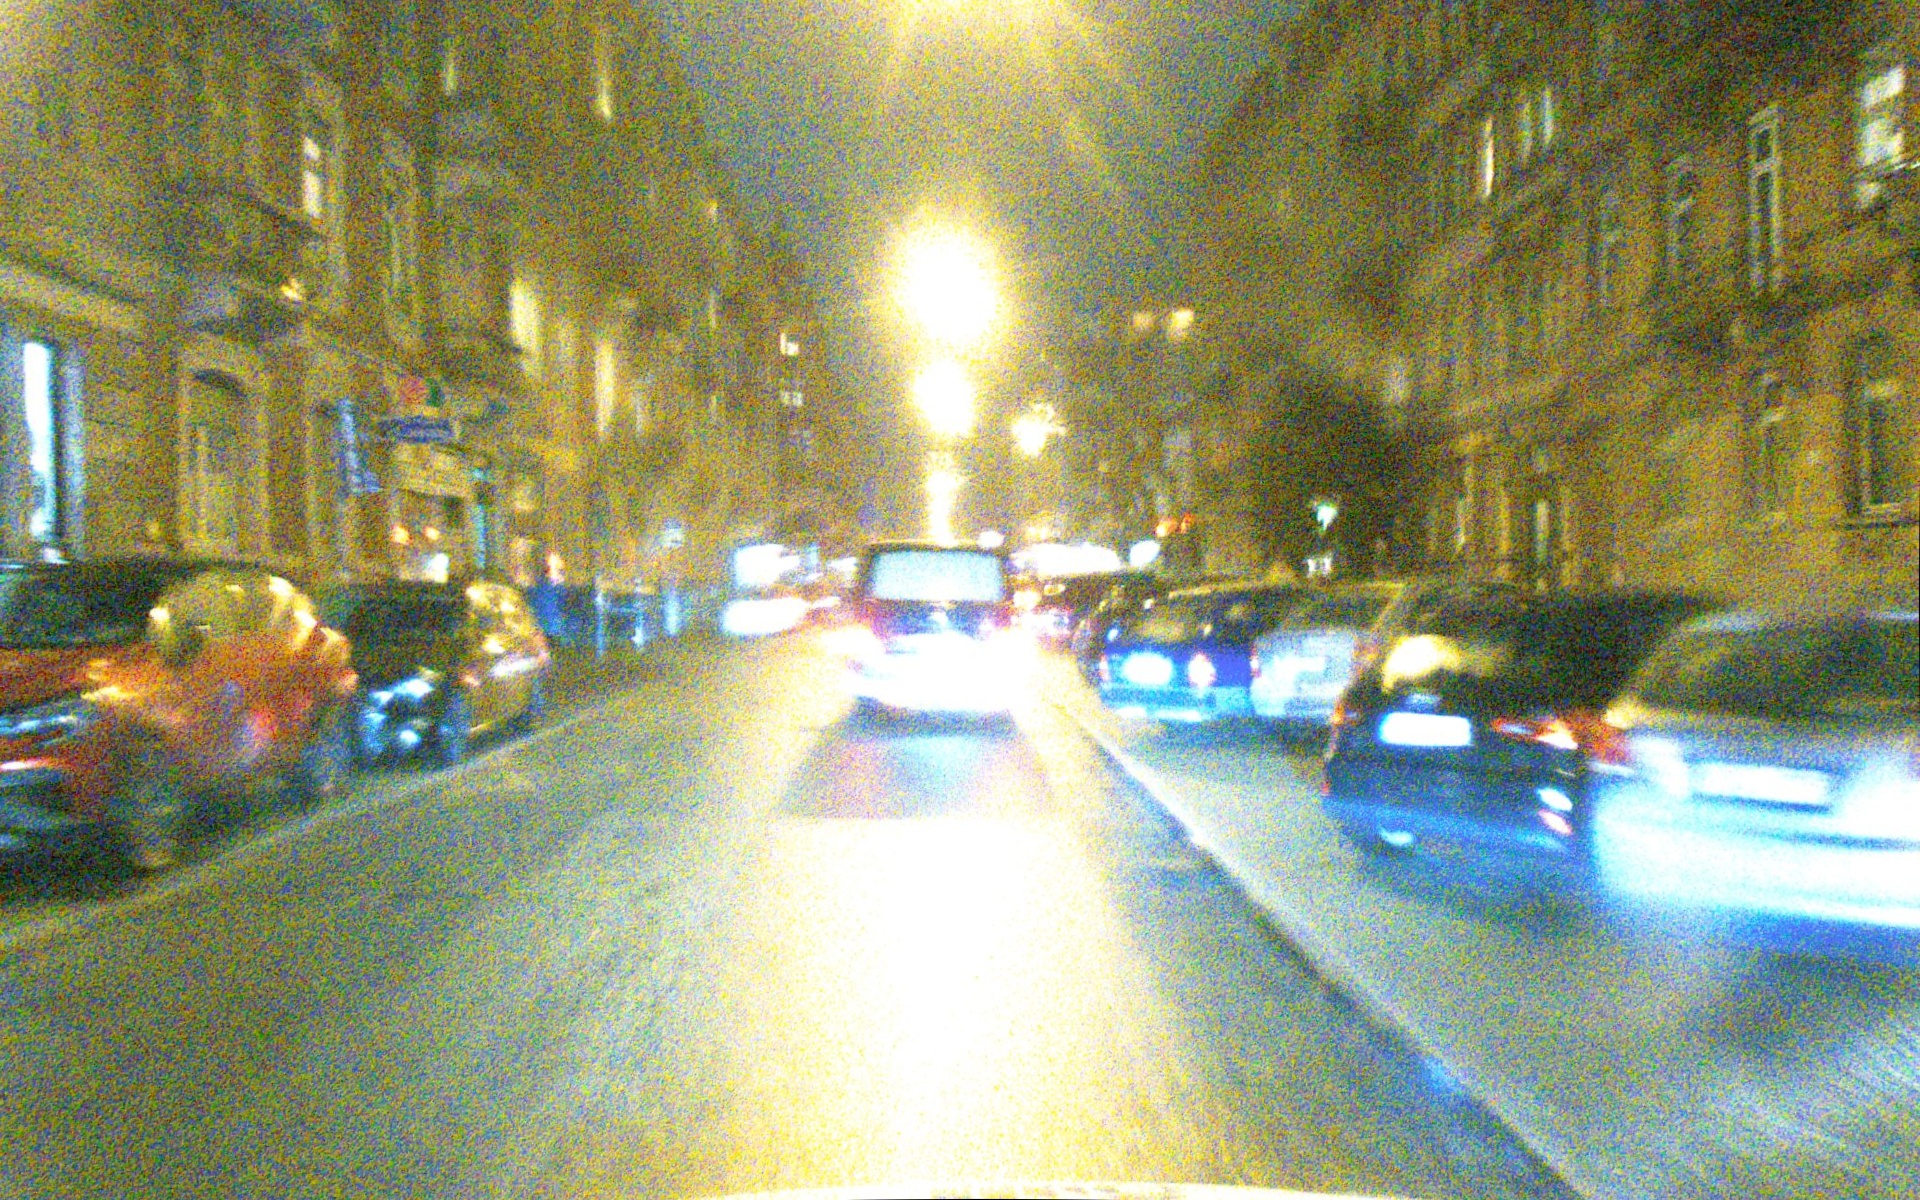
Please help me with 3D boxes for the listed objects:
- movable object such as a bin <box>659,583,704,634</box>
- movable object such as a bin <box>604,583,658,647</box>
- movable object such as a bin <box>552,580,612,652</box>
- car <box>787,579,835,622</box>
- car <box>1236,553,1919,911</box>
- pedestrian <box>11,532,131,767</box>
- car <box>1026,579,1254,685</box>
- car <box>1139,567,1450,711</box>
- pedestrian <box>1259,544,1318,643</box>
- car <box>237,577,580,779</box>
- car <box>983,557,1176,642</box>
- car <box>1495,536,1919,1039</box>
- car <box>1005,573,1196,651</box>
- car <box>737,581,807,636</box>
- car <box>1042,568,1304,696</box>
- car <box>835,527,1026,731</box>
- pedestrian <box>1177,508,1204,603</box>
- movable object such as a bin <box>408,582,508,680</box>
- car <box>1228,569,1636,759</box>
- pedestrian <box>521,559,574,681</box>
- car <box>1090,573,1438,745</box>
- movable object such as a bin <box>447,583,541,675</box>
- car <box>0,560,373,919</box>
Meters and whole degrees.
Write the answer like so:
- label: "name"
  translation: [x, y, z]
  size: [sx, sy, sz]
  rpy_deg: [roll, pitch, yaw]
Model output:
- label: "movable object such as a bin"
  translation: [-7.946, 0.244, 47.277]
  size: [1.026, 1.423, 1.158]
  rpy_deg: [1, 0, 1]
- label: "movable object such as a bin"
  translation: [-7.533, 0.327, 37.942]
  size: [0.954, 1.423, 1.133]
  rpy_deg: [1, 0, 1]
- label: "movable object such as a bin"
  translation: [-7.873, 0.318, 34.494]
  size: [0.954, 1.444, 1.133]
  rpy_deg: [1, 0, 1]
- label: "car"
  translation: [-5.697, 0.006, 63.428]
  size: [1.777, 1.584, 4.073]
  rpy_deg: [0, 1, -5]
- label: "car"
  translation: [3.615, 0.578, 9.417]
  size: [3.956, 1.579, 1.781]
  rpy_deg: [-2, 0, -36]
- label: "pedestrian"
  translation: [-7.045, 0.381, 13.121]
  size: [0.626, 1.812, 0.549]
  rpy_deg: [-1, 0, -1]
- label: "car"
  translation: [2.953, 0.481, 26.812]
  size: [3.614, 1.608, 1.572]
  rpy_deg: [0, 0, -37]
- label: "car"
  translation: [4.094, 0.418, 20.139]
  size: [3.602, 1.608, 1.577]
  rpy_deg: [-1, 1, -30]
- label: "pedestrian"
  translation: [6.470, -0.132, 32.648]
  size: [0.851, 1.888, 0.992]
  rpy_deg: [-3, 1, -4]
- label: "car"
  translation: [-4.615, 0.558, 14.515]
  size: [1.652, 1.481, 4.314]
  rpy_deg: [1, 1, -1]
- label: "car"
  translation: [3.118, -0.064, 42.887]
  size: [4.738, 2.084, 2.044]
  rpy_deg: [-1, 1, -32]
- label: "car"
  translation: [4.219, 0.542, 6.856]
  size: [3.961, 1.579, 1.972]
  rpy_deg: [-2, 0, -39]
- label: "car"
  translation: [3.167, 0.258, 37.085]
  size: [3.941, 1.518, 1.719]
  rpy_deg: [-3, 1, -27]
- label: "car"
  translation: [-5.392, 0.222, 47.801]
  size: [1.554, 1.508, 3.793]
  rpy_deg: [0, 1, 0]
- label: "car"
  translation: [2.958, 0.374, 22.613]
  size: [3.620, 1.608, 1.569]
  rpy_deg: [-1, 1, -41]
- label: "car"
  translation: [-0.331, 0.301, 18.964]
  size: [1.953, 2.086, 3.999]
  rpy_deg: [0, 0, -1]
- label: "pedestrian"
  translation: [8.692, -1.669, 62.395]
  size: [0.873, 3.589, 0.791]
  rpy_deg: [0, 0, -1]
- label: "movable object such as a bin"
  translation: [-7.650, 0.454, 25.256]
  size: [1.117, 1.444, 1.154]
  rpy_deg: [1, 0, 1]
- label: "car"
  translation: [4.446, 0.509, 15.311]
  size: [3.962, 1.477, 1.664]
  rpy_deg: [-2, 0, -39]
- label: "pedestrian"
  translation: [-6.426, 0.301, 25.783]
  size: [0.579, 1.852, 0.794]
  rpy_deg: [2, 0, -1]
- label: "car"
  translation: [3.169, 0.529, 16.882]
  size: [3.653, 1.486, 1.579]
  rpy_deg: [-3, 1, -42]
- label: "movable object such as a bin"
  translation: [-7.607, 0.462, 27.063]
  size: [1.117, 1.444, 1.248]
  rpy_deg: [1, 0, 1]
- label: "car"
  translation: [-4.756, 0.575, 9.273]
  size: [1.571, 1.579, 4.024]
  rpy_deg: [1, 1, -1]
